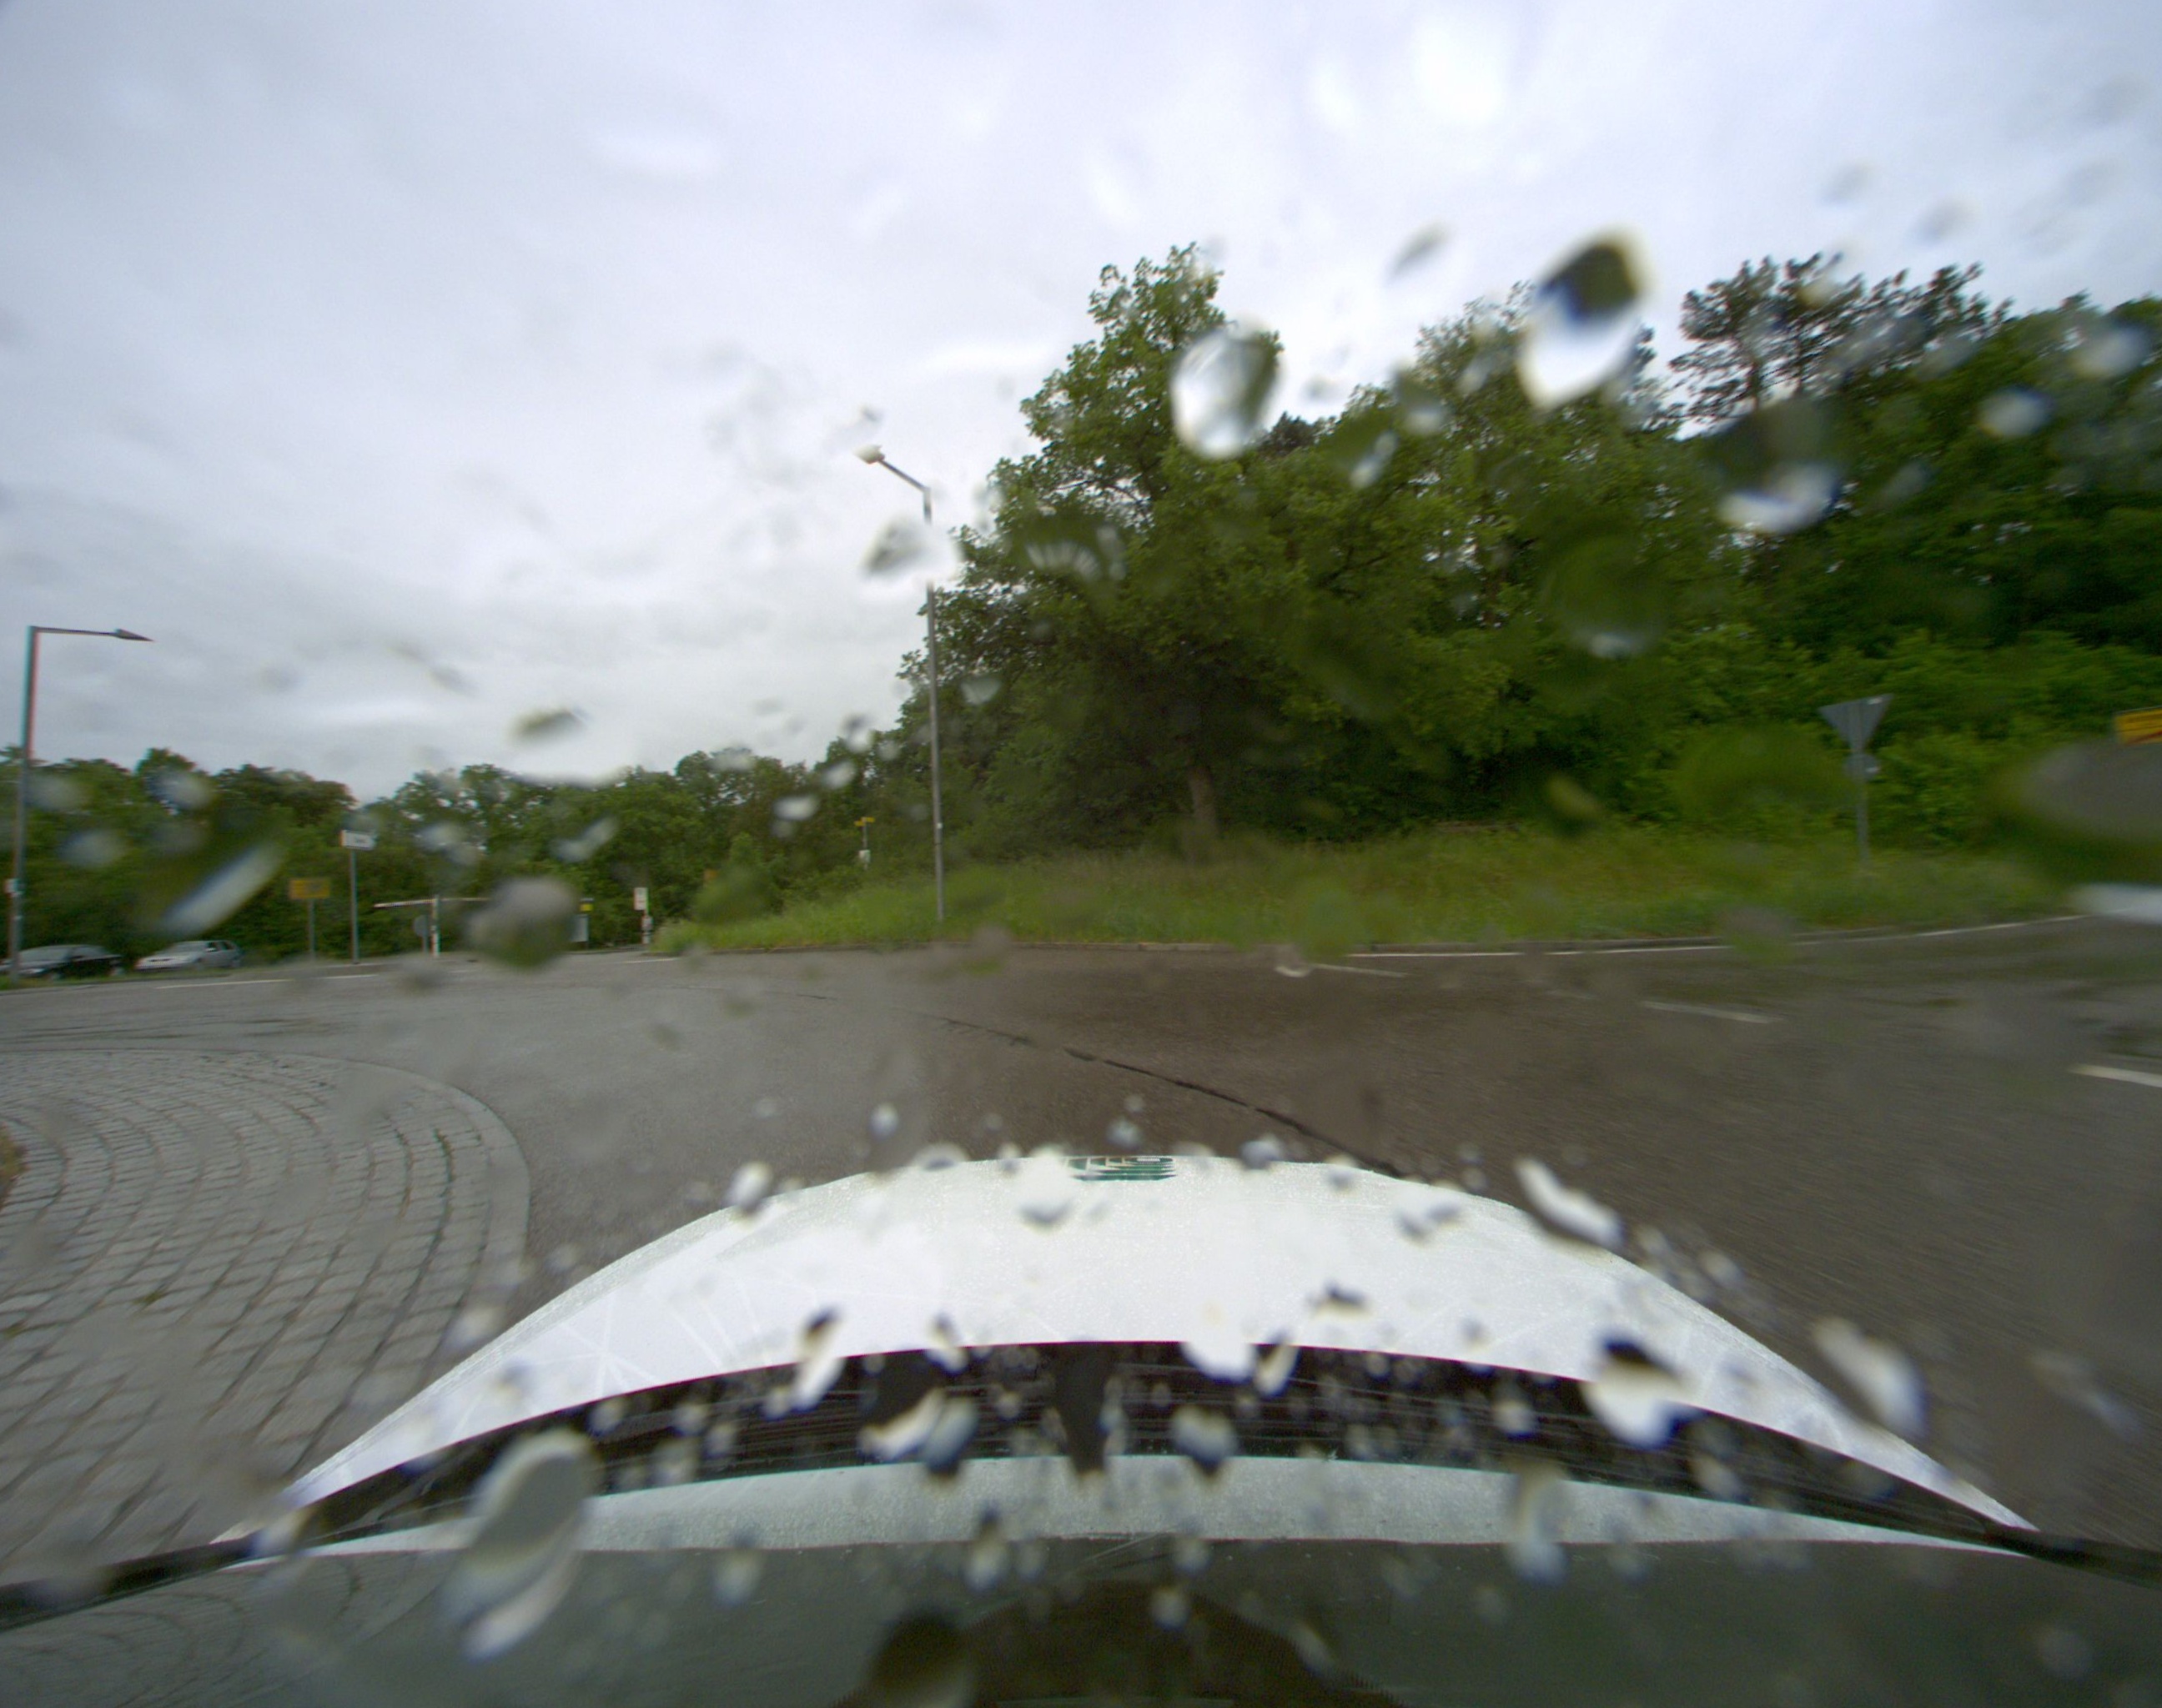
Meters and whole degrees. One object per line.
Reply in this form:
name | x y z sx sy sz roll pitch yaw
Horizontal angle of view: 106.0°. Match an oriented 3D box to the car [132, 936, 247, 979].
car | -39.274 4.529 36.013 1.607 1.355 4.095 -2 -1 -19
